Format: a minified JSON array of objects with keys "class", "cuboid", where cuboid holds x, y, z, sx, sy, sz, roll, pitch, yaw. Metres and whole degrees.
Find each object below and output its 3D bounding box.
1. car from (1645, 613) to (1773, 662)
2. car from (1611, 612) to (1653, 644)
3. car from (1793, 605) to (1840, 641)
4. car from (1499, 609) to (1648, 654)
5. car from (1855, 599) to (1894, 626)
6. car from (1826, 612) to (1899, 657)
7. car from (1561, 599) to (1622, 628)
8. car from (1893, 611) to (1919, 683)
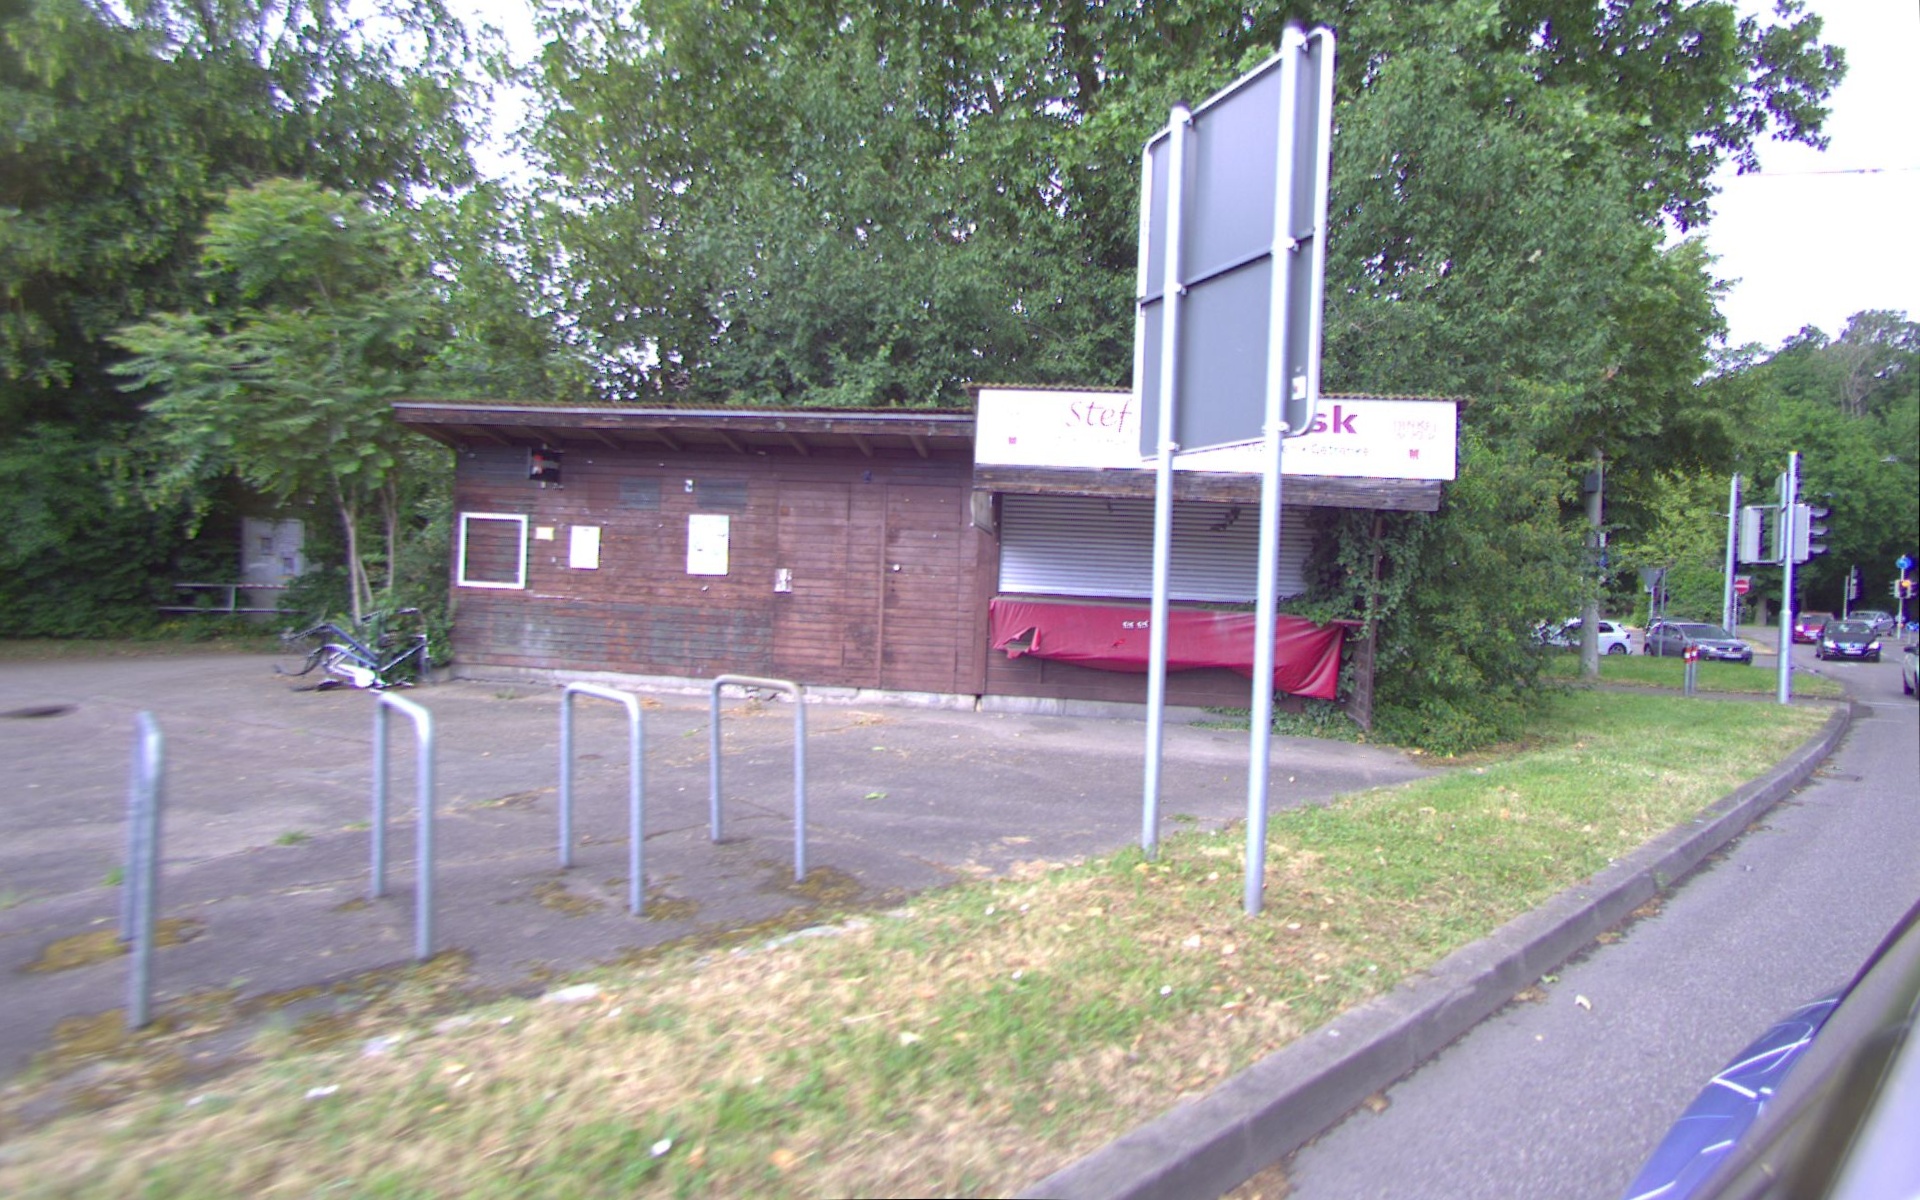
[{"class":"car","cuboid":[24.876,1.197,33.787,1.705,1.447,4.101,2,0,9]},{"class":"car","cuboid":[32.623,1.344,49.107,1.563,1.422,3.450,3,1,35]},{"class":"car","cuboid":[44.830,1.175,53.013,1.668,1.661,4.043,3,3,39]},{"class":"car","cuboid":[21.478,1.084,35.507,4.176,1.398,1.767,2,1,-5]},{"class":"car","cuboid":[59.447,0.803,65.812,1.778,1.588,3.939,3,3,42]},{"class":"car","cuboid":[35.804,1.326,40.245,1.722,1.539,3.948,3,3,36]},{"class":"car","cuboid":[37.218,0.764,59.765,1.975,1.403,4.758,2,2,20]},{"class":"car","cuboid":[21.167,1.030,21.236,1.618,1.527,3.952,2,1,33]}]
